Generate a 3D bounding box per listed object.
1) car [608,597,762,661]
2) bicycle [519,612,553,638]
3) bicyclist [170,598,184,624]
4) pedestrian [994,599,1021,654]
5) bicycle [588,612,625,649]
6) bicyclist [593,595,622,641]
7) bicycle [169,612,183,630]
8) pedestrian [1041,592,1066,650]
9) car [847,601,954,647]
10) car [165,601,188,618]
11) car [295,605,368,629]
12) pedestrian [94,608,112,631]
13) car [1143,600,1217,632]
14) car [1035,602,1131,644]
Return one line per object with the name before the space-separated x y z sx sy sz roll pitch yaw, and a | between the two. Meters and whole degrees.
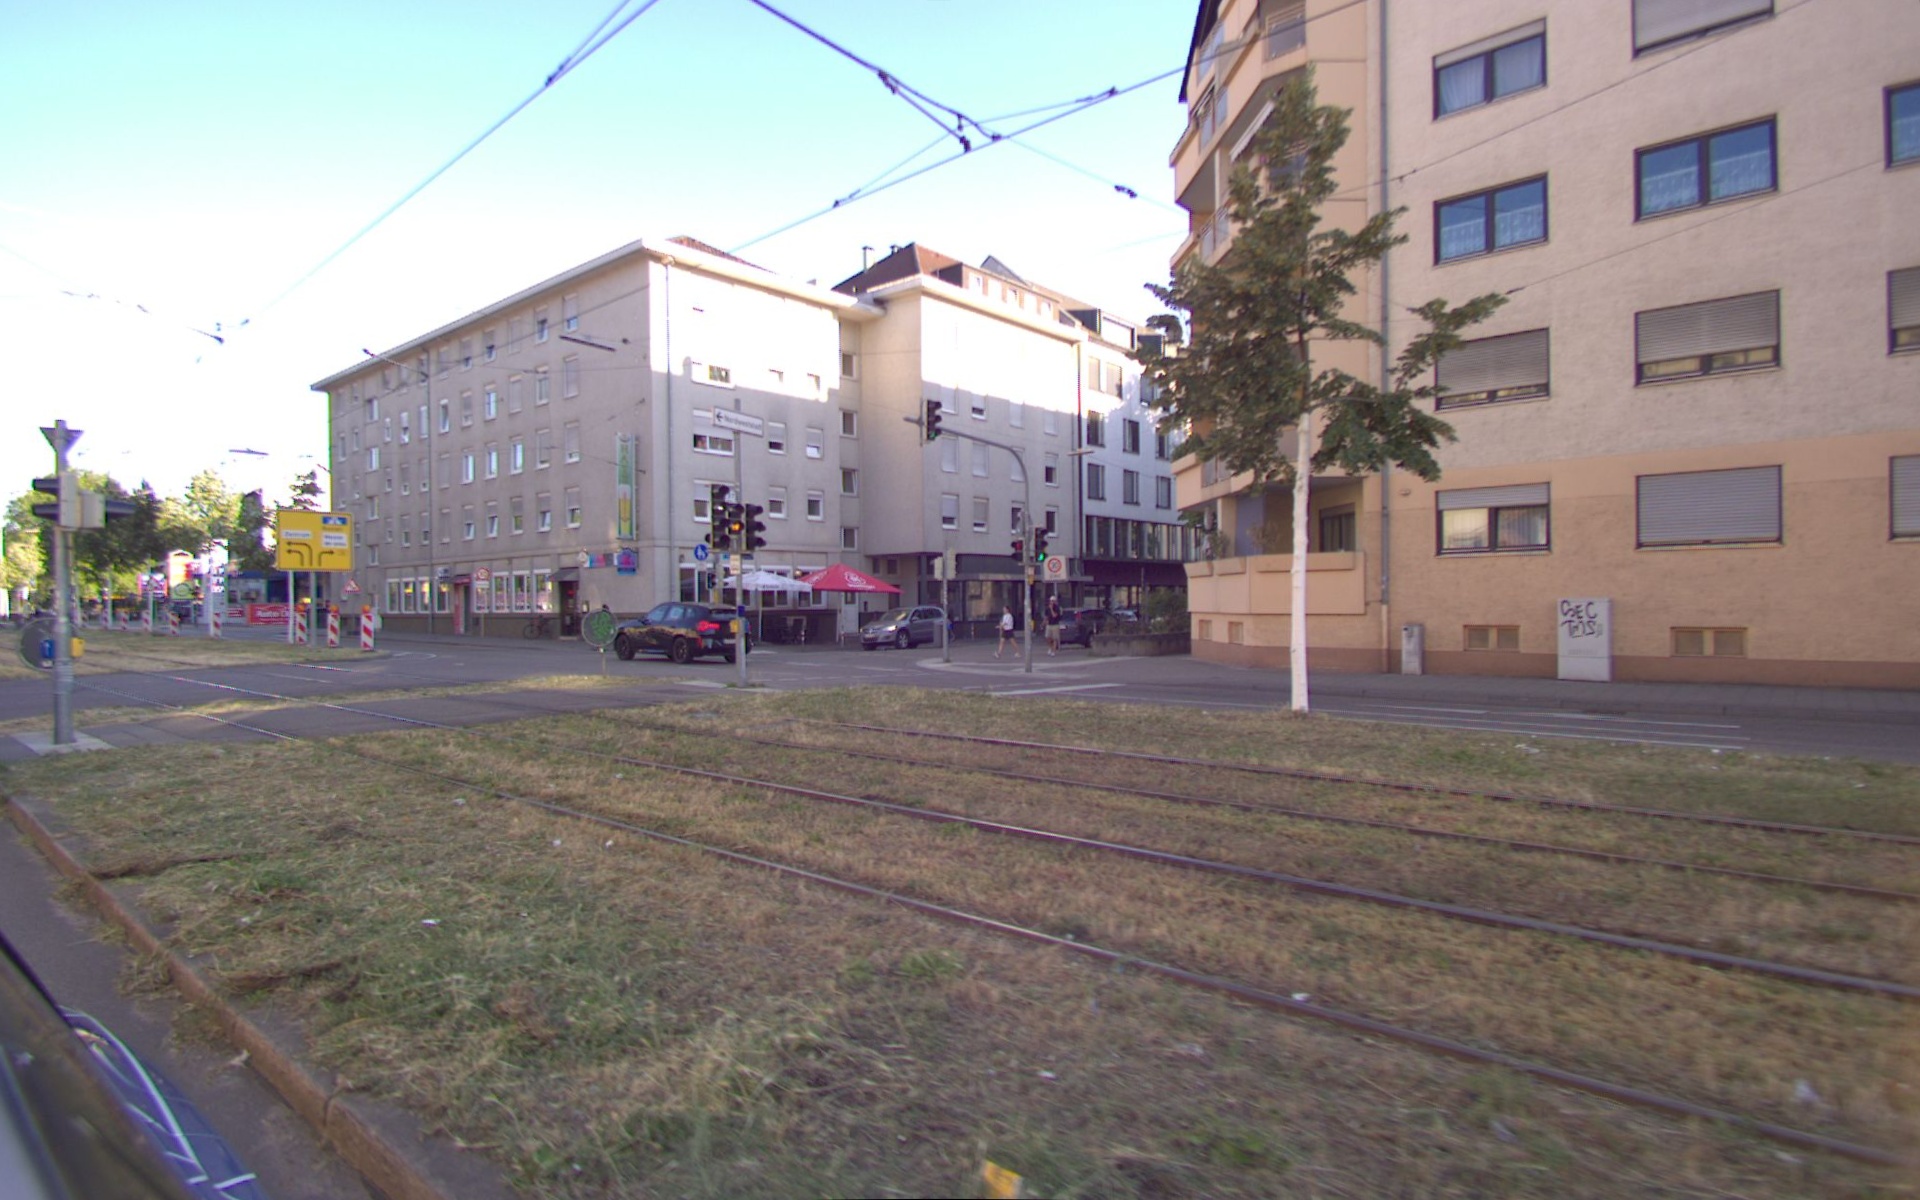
car | -7.690 0.745 28.049 4.746 1.646 1.877 0 0 42
bicycle | -18.113 1.051 43.221 1.844 1.031 0.601 0 2 42
bicyclist | -55.669 0.776 71.917 0.809 1.897 0.644 -1 -1 42
pedestrian | 1.400 0.772 29.770 0.542 1.564 0.516 -2 2 -43
bicycle | -12.662 1.094 36.200 0.450 1.267 1.871 -1 0 -45
bicyclist | -12.591 0.642 36.136 0.809 1.598 0.619 -2 0 44
bicycle | -55.683 1.497 71.858 1.870 1.267 0.450 -2 0 42
pedestrian | 2.820 0.633 30.490 0.583 1.717 0.463 -2 2 -43
car | -2.185 0.860 38.341 1.994 1.636 4.151 -1 0 33
car | -80.465 0.935 103.909 1.756 1.567 4.007 -2 2 -40
car | -41.530 1.120 66.924 1.906 1.480 3.680 -3 -2 40
pedestrian | -49.085 1.113 57.976 0.581 1.280 0.655 -2 1 42
car | 9.380 0.652 43.010 1.771 1.273 3.265 0 1 40
car | 4.564 0.806 37.170 1.994 1.453 3.955 -1 0 33
